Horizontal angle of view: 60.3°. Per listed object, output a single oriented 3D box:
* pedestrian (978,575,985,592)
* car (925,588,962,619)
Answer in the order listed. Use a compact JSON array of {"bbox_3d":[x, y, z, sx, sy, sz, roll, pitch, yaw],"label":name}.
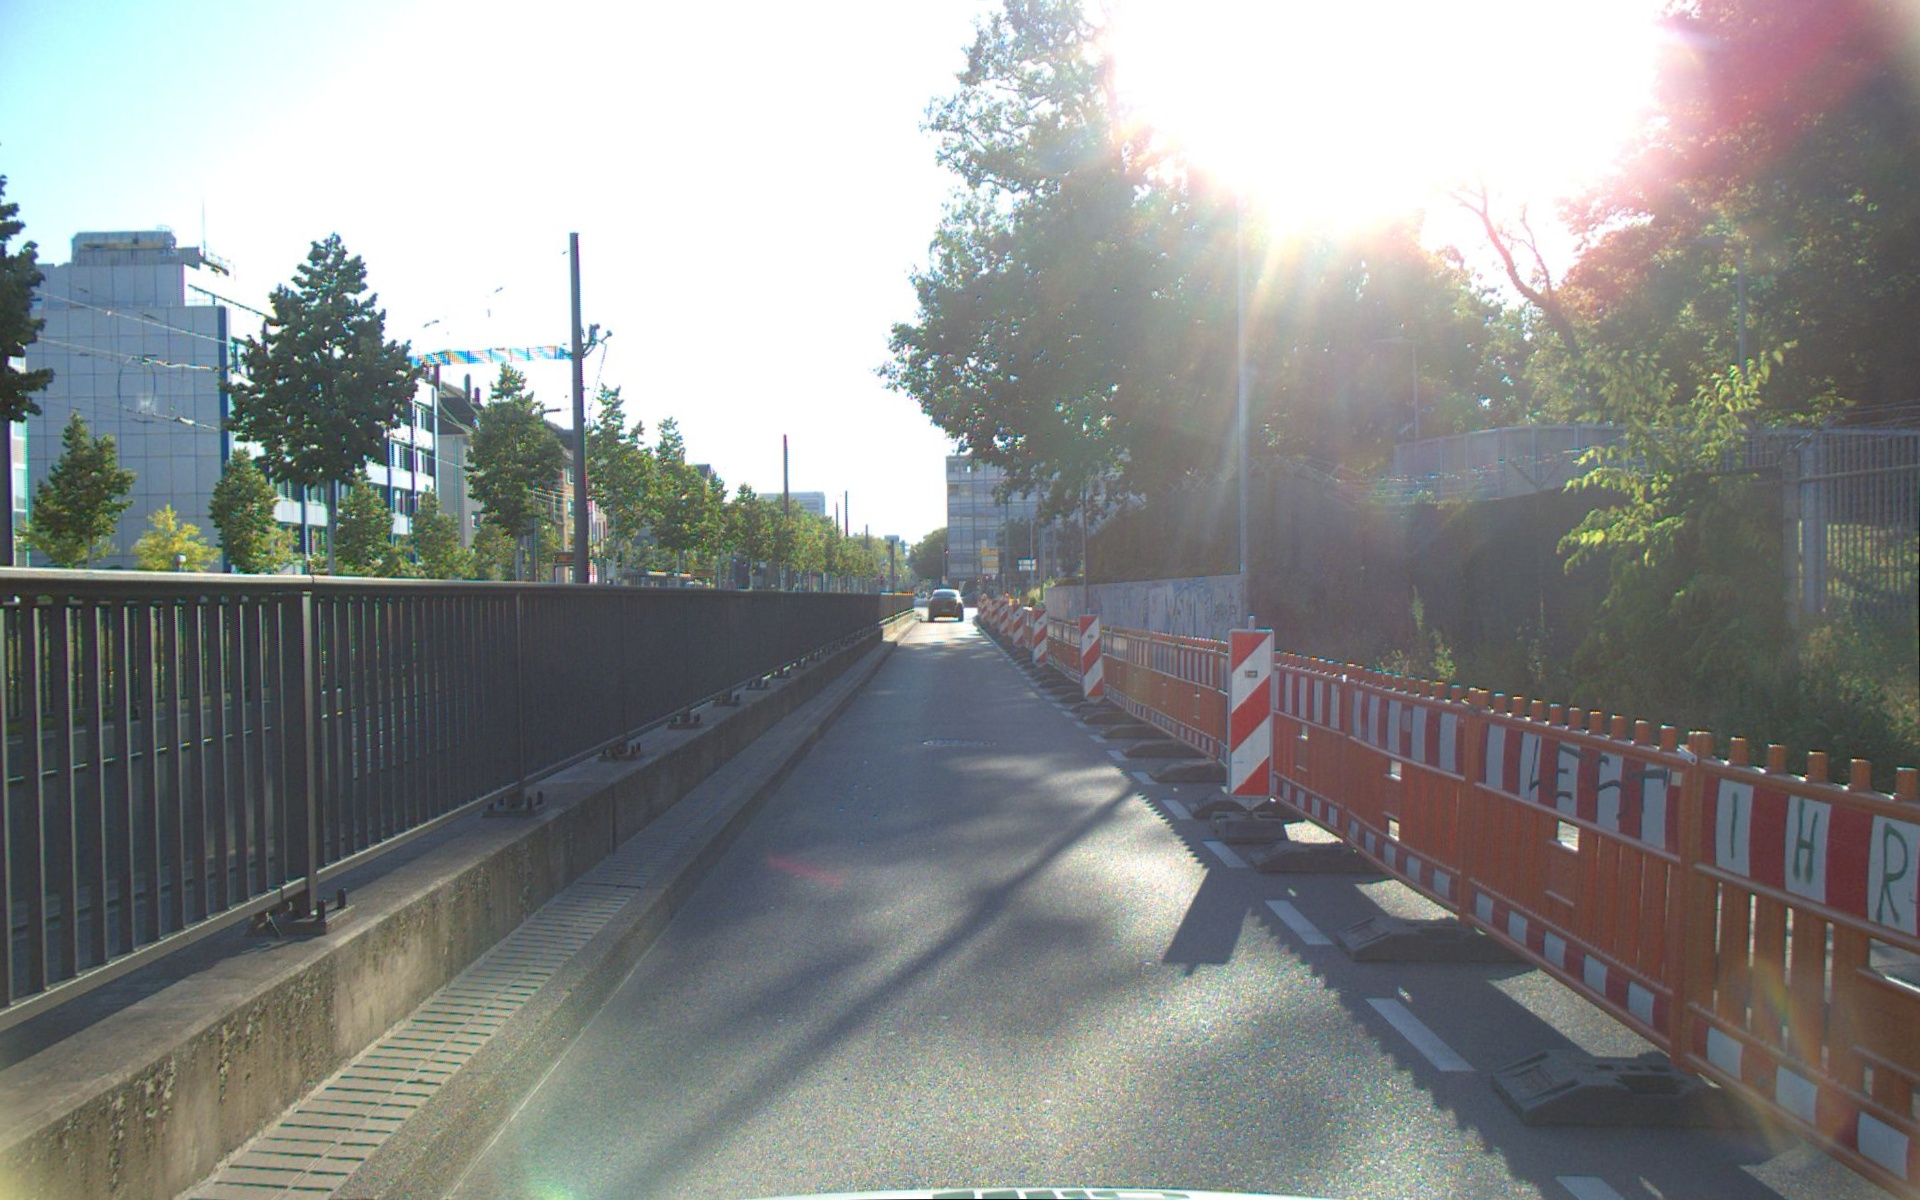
[{"bbox_3d":[2.725,-2.067,209.109,0.873,2.149,0.718,-1,1,4],"label":"pedestrian"},{"bbox_3d":[-0.911,0.200,92.730,1.964,1.688,4.000,1,0,0],"label":"car"}]
